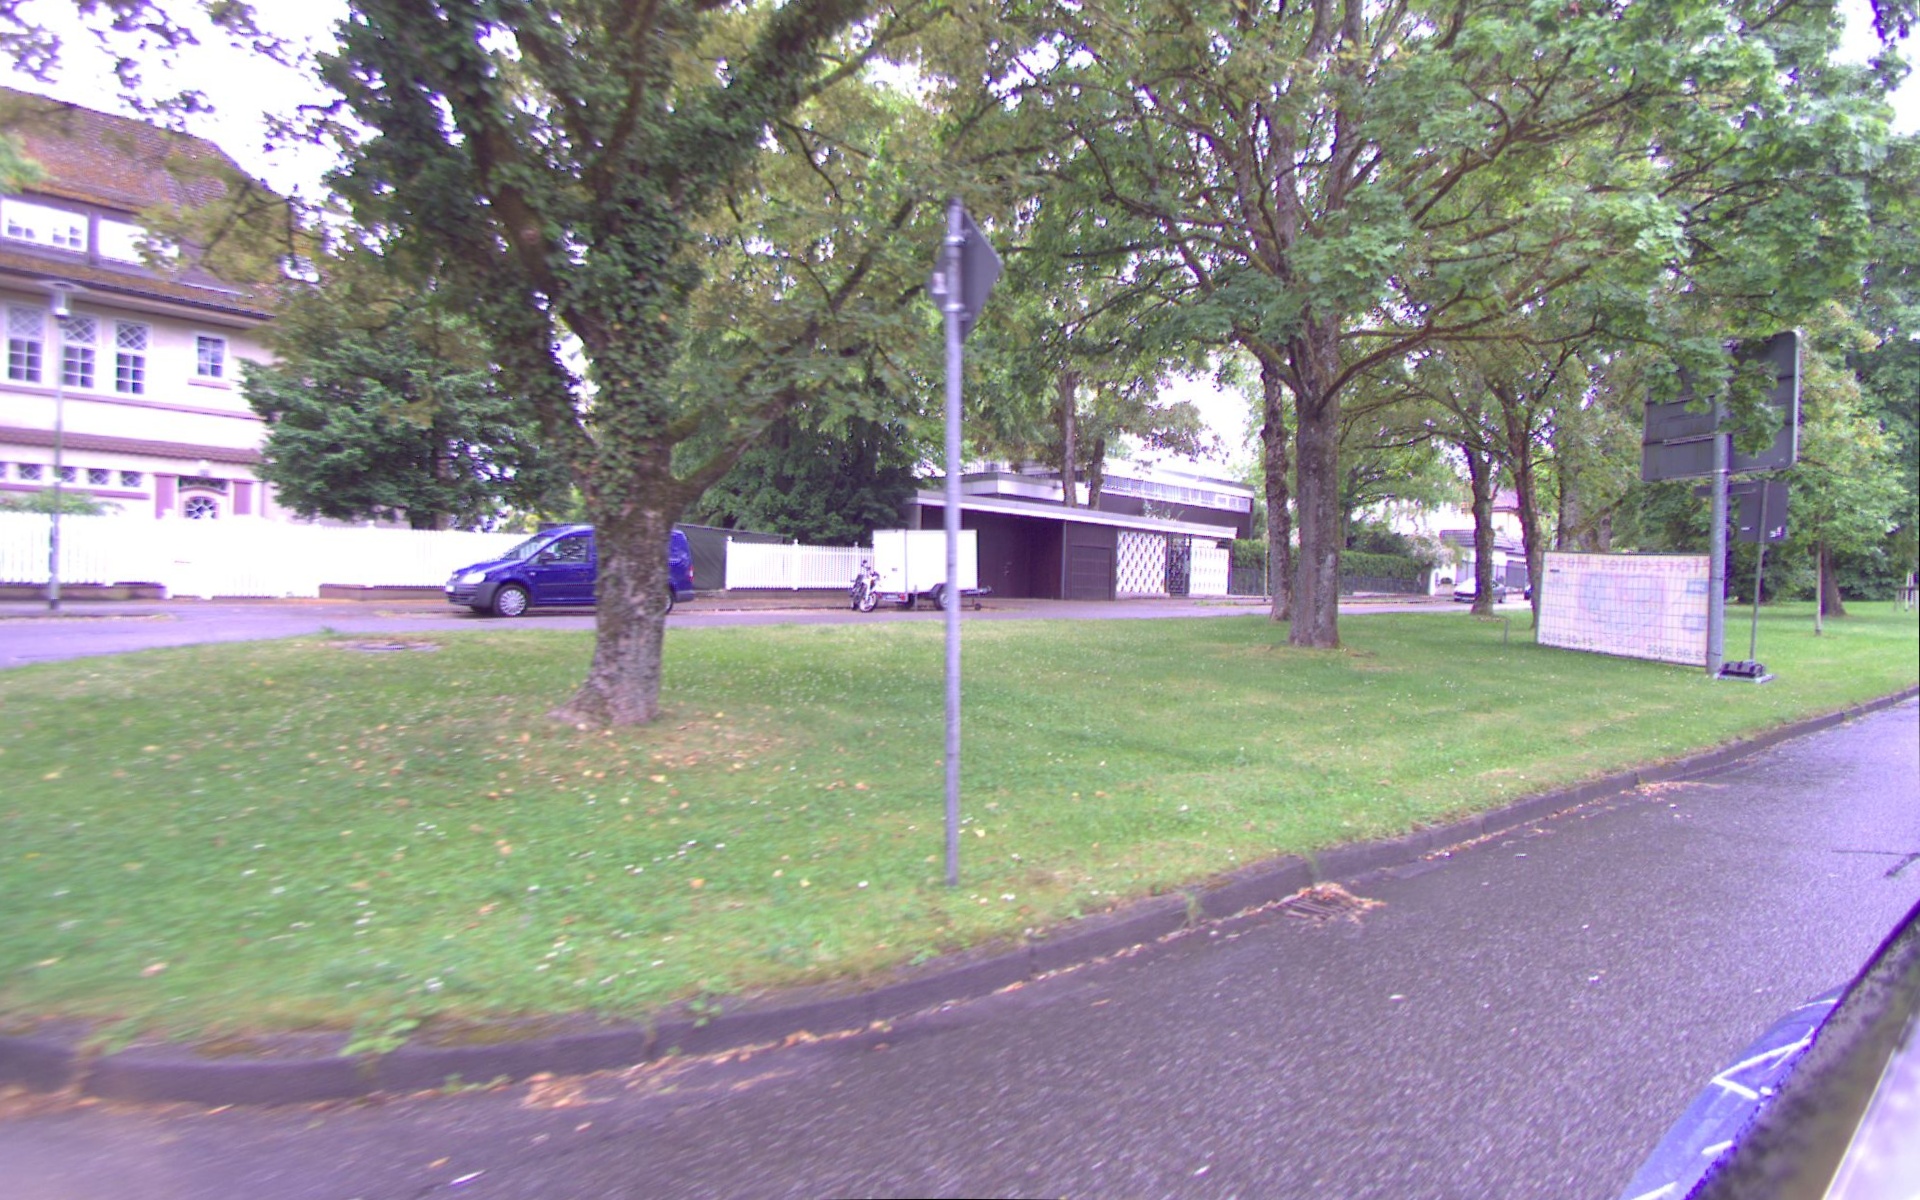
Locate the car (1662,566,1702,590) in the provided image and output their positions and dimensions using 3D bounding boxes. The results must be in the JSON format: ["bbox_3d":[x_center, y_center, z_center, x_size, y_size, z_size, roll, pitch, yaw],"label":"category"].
[{"bbox_3d":[62.872,-1.888,88.145,3.930,2.039,1.997,-1,0,-41],"label":"car"}]

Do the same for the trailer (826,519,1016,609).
[{"bbox_3d":[-0.924,-0.896,26.624,5.106,2.143,1.768,-1,0,-43],"label":"trailer"}]

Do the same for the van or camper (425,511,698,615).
[{"bbox_3d":[-7.853,-0.684,20.266,1.994,1.831,4.699,0,1,45],"label":"van or camper"}]

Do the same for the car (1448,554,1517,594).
[{"bbox_3d":[28.648,-1.421,55.444,3.930,2.038,1.998,0,3,-41],"label":"car"}]
